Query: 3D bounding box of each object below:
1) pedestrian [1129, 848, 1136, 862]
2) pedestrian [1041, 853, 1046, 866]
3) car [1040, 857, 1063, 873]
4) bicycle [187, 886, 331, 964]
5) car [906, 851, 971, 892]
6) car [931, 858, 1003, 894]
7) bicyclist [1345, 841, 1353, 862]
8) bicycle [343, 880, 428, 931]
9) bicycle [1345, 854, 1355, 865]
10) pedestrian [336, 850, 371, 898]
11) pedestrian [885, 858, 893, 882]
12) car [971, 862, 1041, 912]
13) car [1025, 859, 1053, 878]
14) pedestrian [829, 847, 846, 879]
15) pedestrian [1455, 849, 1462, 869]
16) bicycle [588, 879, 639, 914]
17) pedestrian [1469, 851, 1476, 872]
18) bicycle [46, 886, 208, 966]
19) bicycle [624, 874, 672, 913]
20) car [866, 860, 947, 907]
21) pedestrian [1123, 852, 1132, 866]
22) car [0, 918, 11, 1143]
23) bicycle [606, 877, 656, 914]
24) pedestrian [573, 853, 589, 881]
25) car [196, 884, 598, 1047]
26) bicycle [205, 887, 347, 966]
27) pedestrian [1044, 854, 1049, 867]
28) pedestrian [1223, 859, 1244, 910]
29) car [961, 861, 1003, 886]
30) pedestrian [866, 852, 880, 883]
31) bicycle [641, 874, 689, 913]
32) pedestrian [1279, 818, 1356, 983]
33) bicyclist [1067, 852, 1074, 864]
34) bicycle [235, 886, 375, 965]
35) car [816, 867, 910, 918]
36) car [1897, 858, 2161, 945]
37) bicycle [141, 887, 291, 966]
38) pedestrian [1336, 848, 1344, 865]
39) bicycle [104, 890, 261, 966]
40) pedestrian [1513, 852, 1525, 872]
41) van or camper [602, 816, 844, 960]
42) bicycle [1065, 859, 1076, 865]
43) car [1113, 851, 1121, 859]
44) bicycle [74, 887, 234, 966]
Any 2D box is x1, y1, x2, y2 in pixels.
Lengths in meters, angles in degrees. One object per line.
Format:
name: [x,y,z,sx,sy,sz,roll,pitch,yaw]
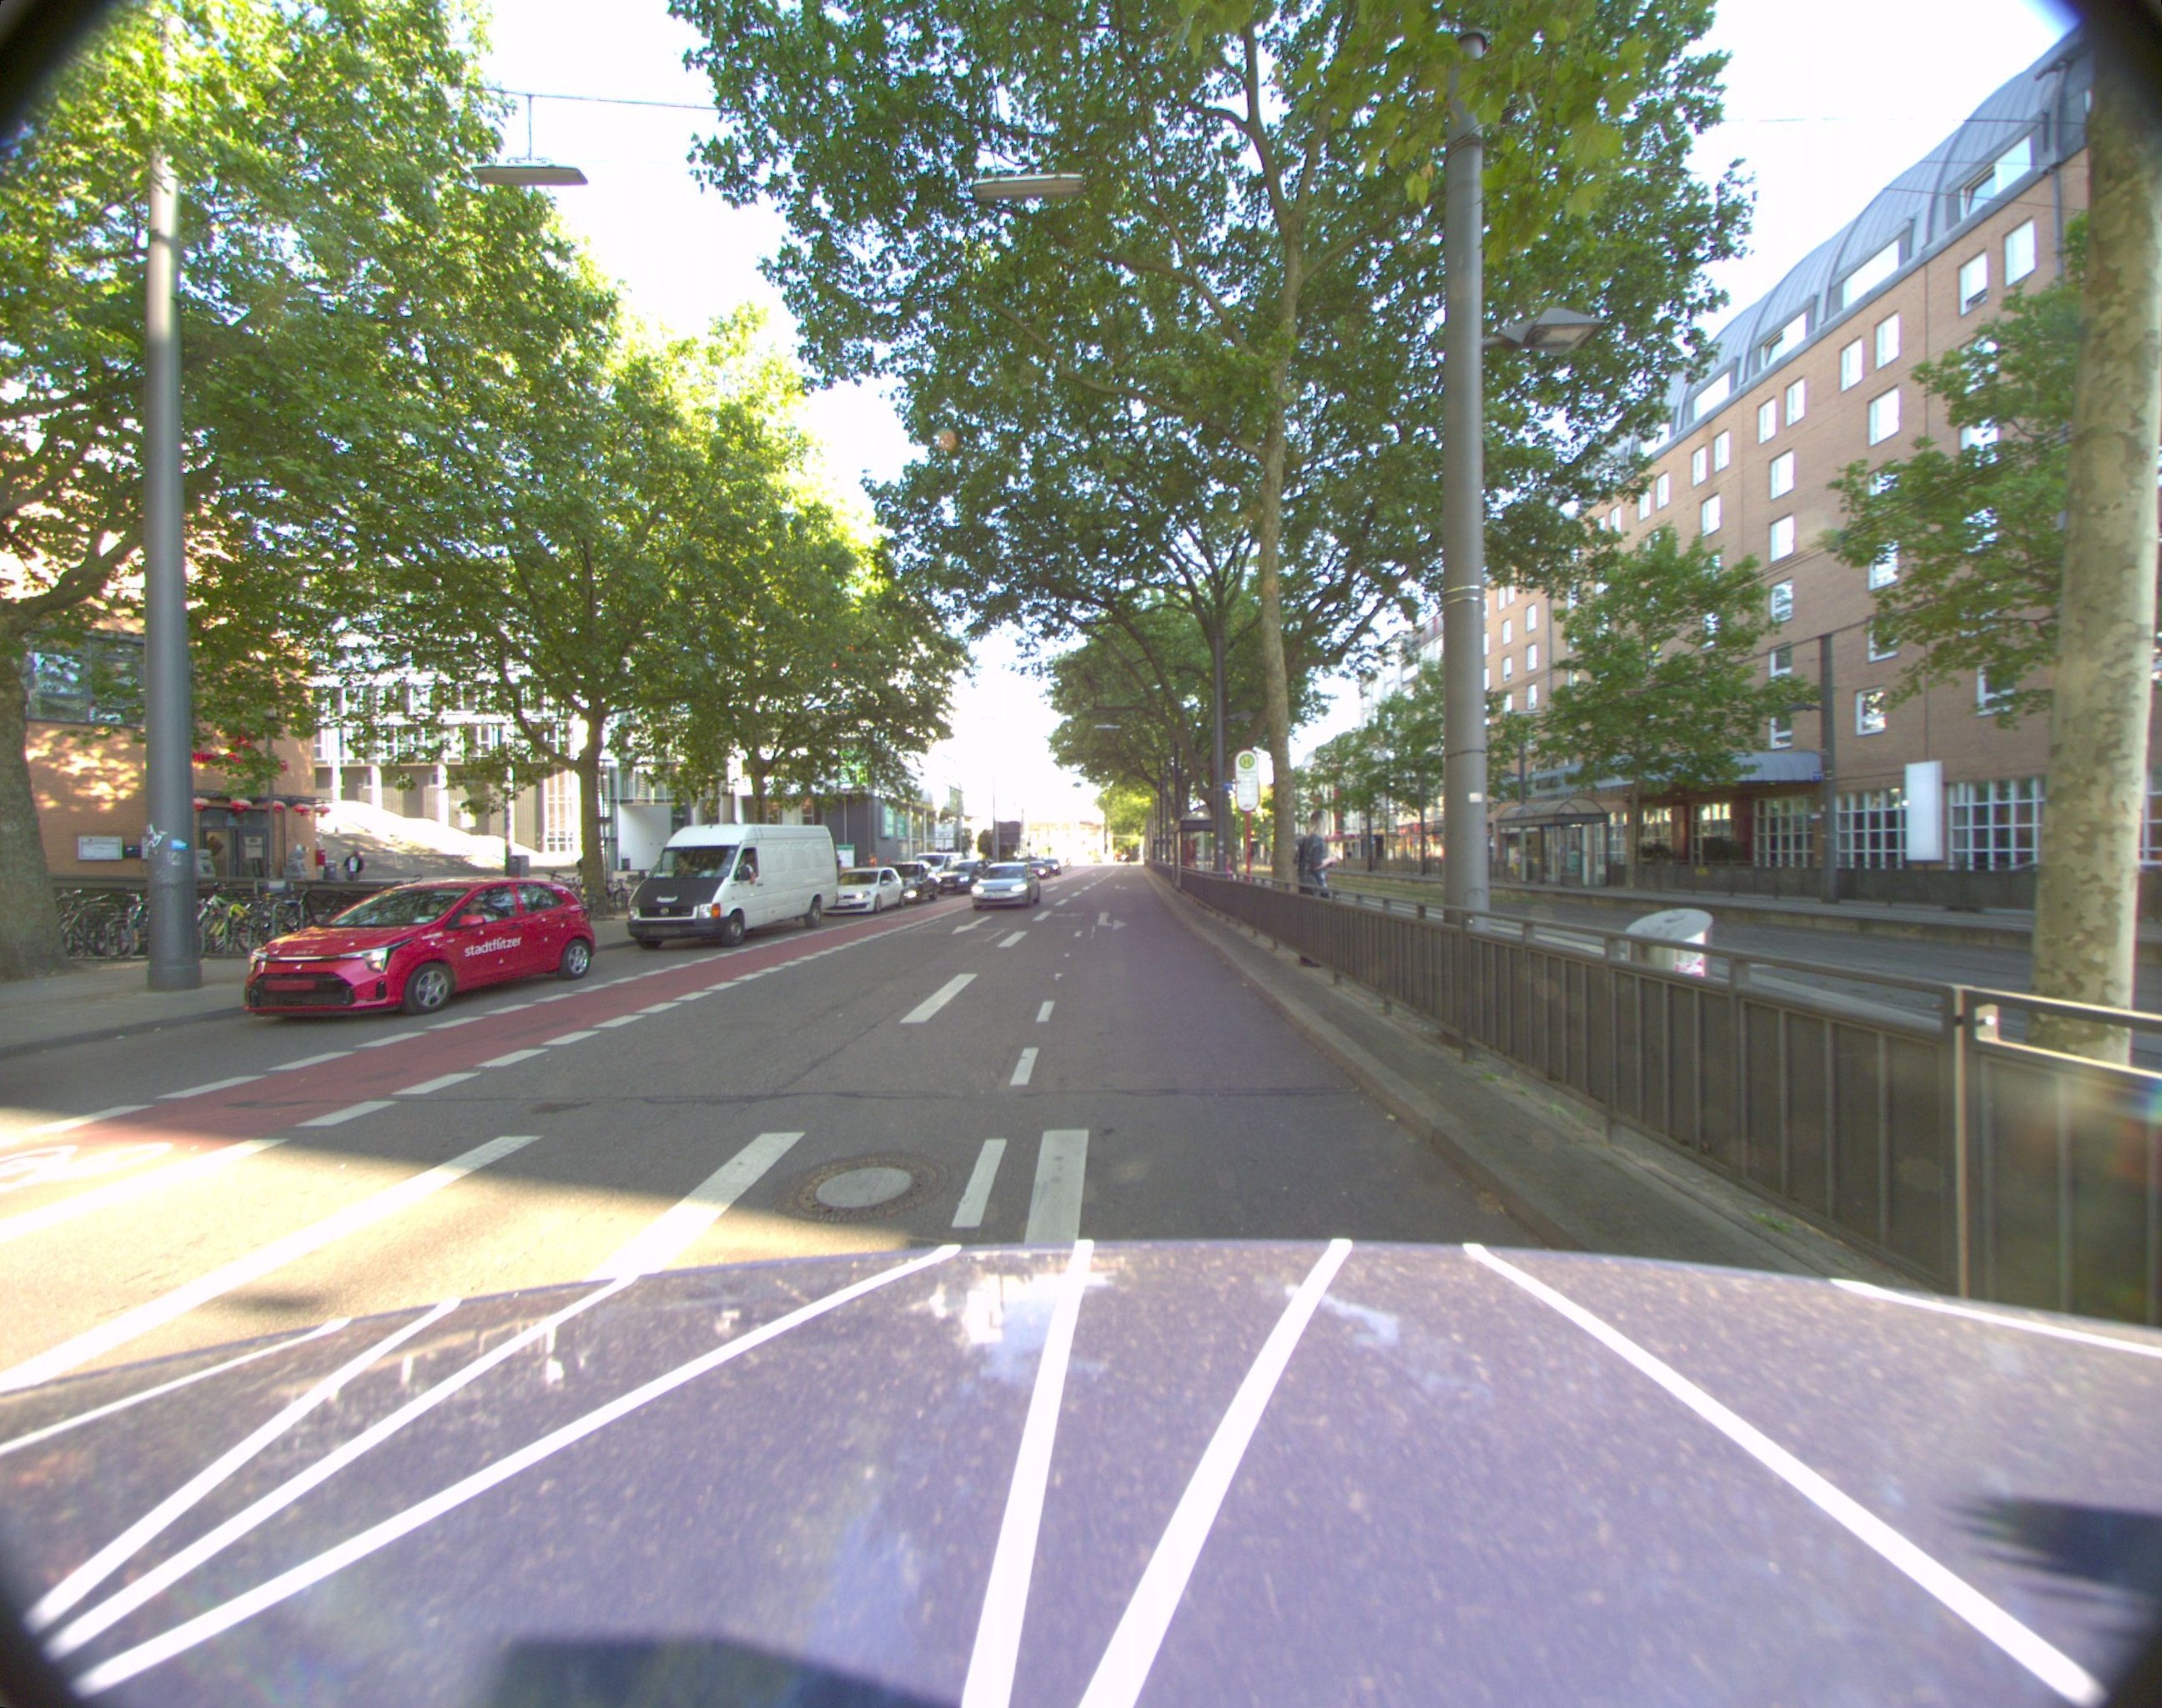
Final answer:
pedestrian: [7.565,0.181,111.653,0.831,2.002,0.772,-1,1,-27]
pedestrian: [-4.852,0.699,97.959,0.611,1.644,0.583,-1,1,1]
car: [-2.746,1.031,71.717,1.801,1.438,4.001,0,0,3]
bicycle: [-14.328,1.200,13.322,0.484,1.187,1.850,0,0,1]
car: [-7.475,0.863,40.512,1.965,1.983,4.960,-1,0,7]
car: [-5.467,1.015,37.152,1.964,1.610,4.335,-1,0,14]
bicyclist: [24.335,-0.266,68.975,0.572,1.893,0.813,0,1,6]
bicycle: [-17.884,1.287,19.590,0.517,1.187,1.790,0,0,1]
bicycle: [24.416,0.489,69.069,0.451,0.998,1.753,-1,0,6]
pedestrian: [-31.041,0.835,32.409,0.876,2.025,0.586,-1,1,-4]
pedestrian: [-11.147,0.932,44.202,0.301,1.367,0.502,-1,1,4]
car: [-2.401,1.029,25.189,1.733,1.432,4.000,-2,0,2]
car: [-3.386,1.147,61.372,1.801,1.369,4.001,0,0,3]
pedestrian: [-13.436,0.511,41.877,0.715,1.758,0.526,-1,1,2]
pedestrian: [27.751,0.368,55.909,0.438,1.497,0.659,0,1,23]
bicycle: [-15.221,1.365,24.792,0.516,1.027,1.850,0,0,1]
pedestrian: [28.626,0.524,55.562,0.438,1.511,0.659,0,1,23]
bicycle: [-16.389,1.198,13.136,0.435,1.187,1.850,0,0,1]
bicycle: [-14.116,1.260,24.818,0.495,1.187,1.850,0,0,1]
car: [-6.700,1.085,29.681,1.818,1.610,4.229,-1,0,5]
pedestrian: [6.712,0.751,109.618,0.859,2.002,0.800,-3,1,-27]
car: [-8.005,1.177,2.917,1.743,1.476,4.251,-1,0,0]
bicycle: [-14.660,1.328,24.816,0.522,1.088,1.797,0,0,1]
pedestrian: [-28.076,0.749,42.671,0.719,1.549,0.639,-1,1,-35]
car: [-7.942,1.178,9.364,1.606,1.449,3.651,-1,0,0]
bicycle: [-13.822,1.204,13.132,0.448,1.187,1.850,0,0,1]
pedestrian: [-4.309,0.836,94.644,0.648,1.644,0.643,-1,1,1]
pedestrian: [3.931,0.778,19.620,0.500,1.308,0.419,0,1,8]
car: [-6.051,1.177,46.741,1.801,1.369,4.001,0,0,3]
pedestrian: [-11.810,0.774,43.215,0.627,1.758,0.451,-1,1,2]
bicycle: [-13.573,1.269,24.839,0.522,1.187,1.850,0,0,1]
pedestrian: [2.816,0.515,9.055,0.624,1.873,0.605,-3,3,-28]
bicyclist: [-1.531,0.549,111.176,0.716,1.707,0.671,-1,1,-41]
bicycle: [-13.319,1.194,13.126,0.482,1.187,1.850,0,0,1]
car: [-7.015,1.187,24.847,1.682,1.420,4.001,-1,0,3]
car: [20.046,0.857,15.668,1.760,1.479,4.308,-1,0,-1]
bicycle: [-14.844,1.199,13.122,0.447,1.187,1.850,0,0,1]
pedestrian: [31.817,0.291,93.354,0.806,2.002,0.763,-1,1,1]
bicycle: [-15.427,1.236,13.131,0.485,1.118,1.850,0,0,1]
pedestrian: [30.346,0.558,52.615,0.519,1.427,0.516,0,1,4]
van or camper: [-7.533,0.616,17.089,1.998,2.563,6.575,-2,0,3]
bicycle: [-1.539,1.130,111.173,1.674,0.879,0.579,-1,1,-40]
car: [9.694,0.317,205.943,1.998,2.002,4.001,-1,0,4]
bicycle: [-15.926,1.203,13.133,0.458,1.187,1.850,0,0,1]
